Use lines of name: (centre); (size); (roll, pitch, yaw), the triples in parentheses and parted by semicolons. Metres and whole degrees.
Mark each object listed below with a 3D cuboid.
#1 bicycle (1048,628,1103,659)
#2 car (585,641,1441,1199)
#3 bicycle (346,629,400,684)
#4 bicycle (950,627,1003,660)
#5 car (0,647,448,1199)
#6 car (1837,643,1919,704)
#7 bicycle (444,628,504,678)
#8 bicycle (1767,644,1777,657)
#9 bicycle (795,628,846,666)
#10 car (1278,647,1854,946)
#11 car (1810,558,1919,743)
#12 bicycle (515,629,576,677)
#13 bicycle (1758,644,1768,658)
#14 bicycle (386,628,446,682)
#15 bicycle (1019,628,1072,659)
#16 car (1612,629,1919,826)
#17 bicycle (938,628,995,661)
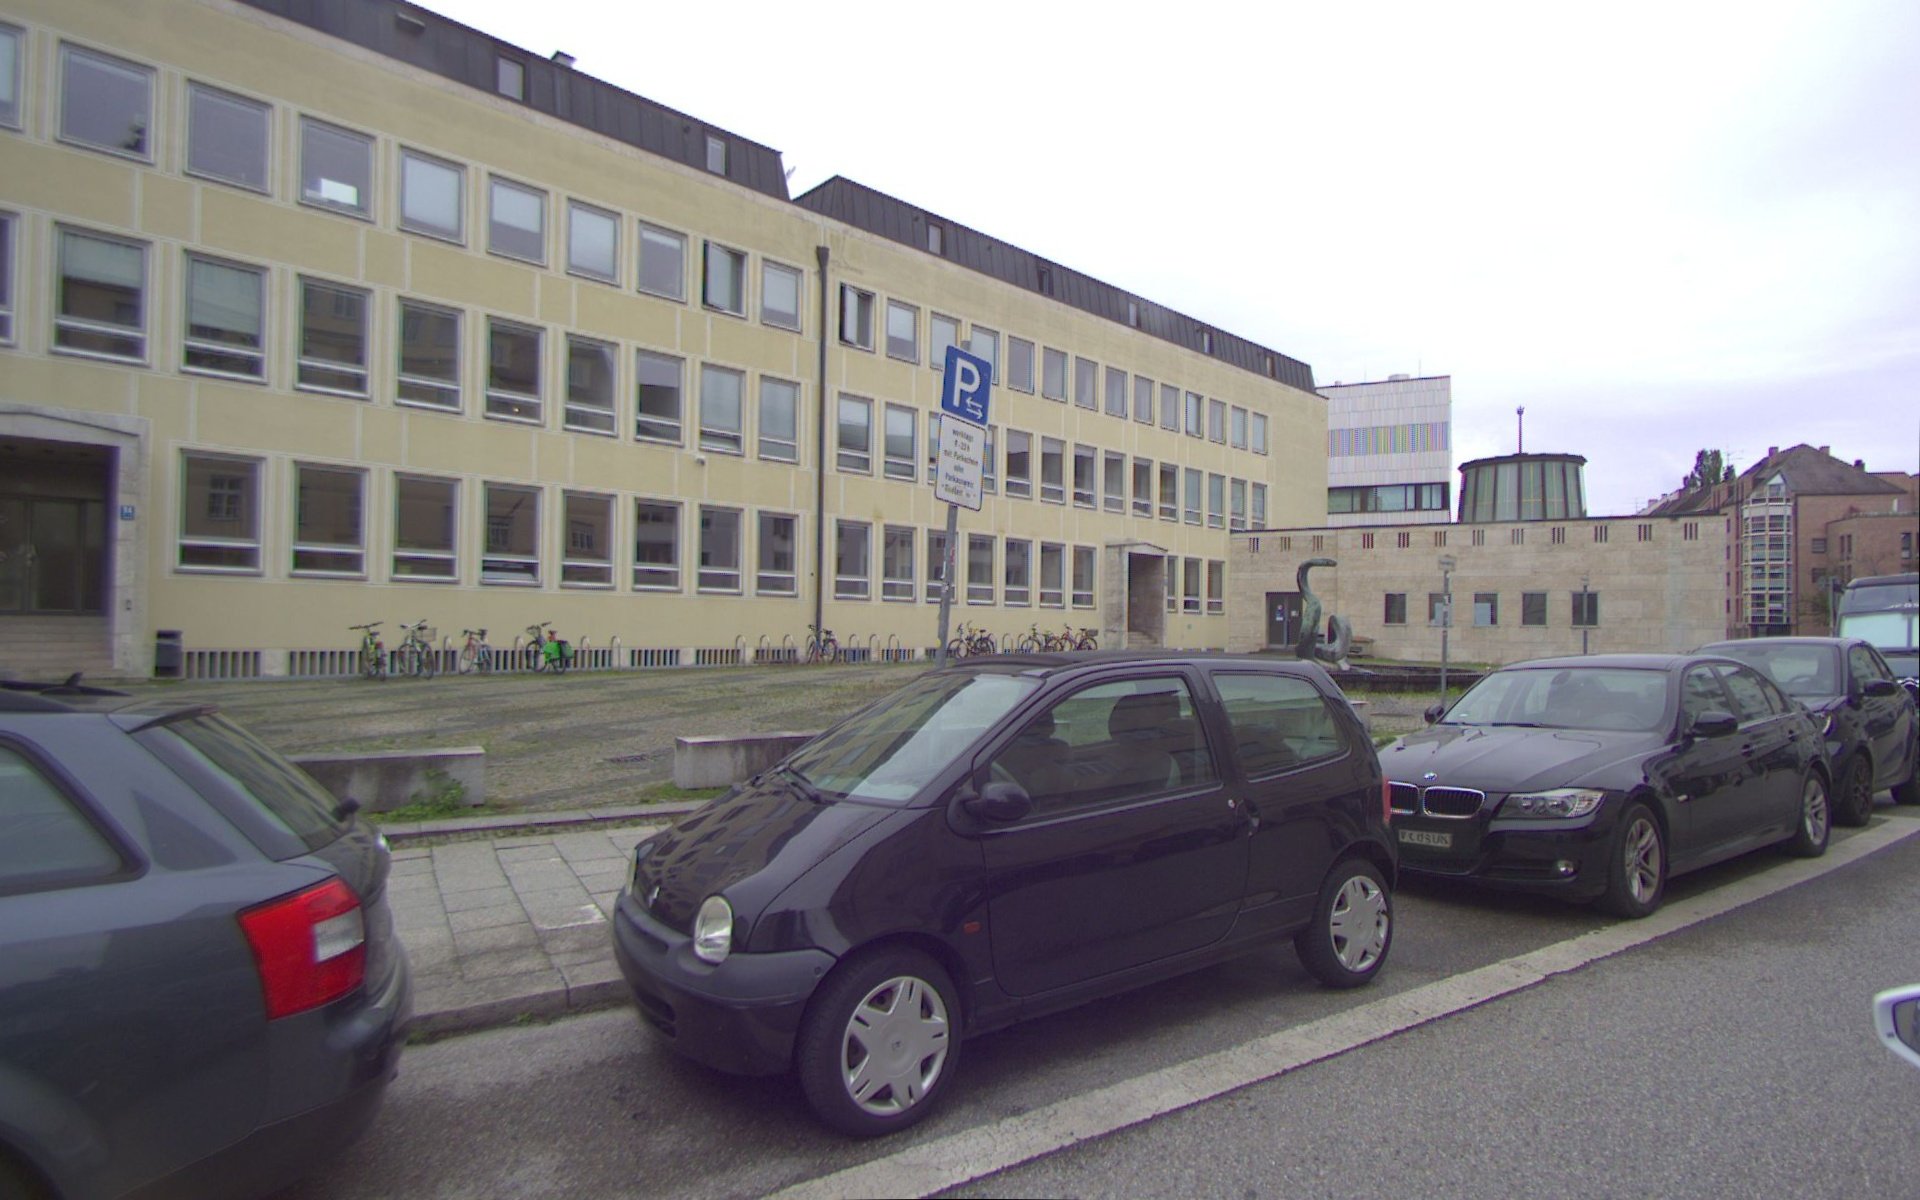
bicycle: (4.117, 1.543, 35.806); (1.923, 1.028, 0.623); (0, -1, 40)
car: (0.302, 0.921, 4.247); (3.276, 1.472, 1.647); (2, -3, -33)
bicycle: (-11.715, 1.102, 20.021); (0.620, 1.028, 1.931); (1, -1, -39)
bicycle: (0.534, 1.423, 33.098); (0.620, 1.028, 1.931); (1, -1, -39)
car: (-3.447, 0.837, 1.857); (4.346, 1.472, 1.746); (1, -3, -31)
car: (25.033, 1.833, 25.323); (4.003, 1.500, 1.687); (-2, -5, 10)
bicycle: (-10.554, 1.126, 21.780); (0.621, 1.028, 1.928); (1, -1, -43)
bicycle: (81.422, 5.083, 100.707); (0.543, 1.305, 1.756); (0, -1, 30)
bicycle: (-3.983, 1.313, 28.561); (0.619, 1.028, 1.933); (1, -1, -36)
car: (4.306, 1.045, 6.880); (4.412, 1.424, 1.787); (2, -4, -36)
car: (15.972, 0.803, 16.725); (5.977, 2.676, 2.143); (2, -3, -44)
bicycle: (-9.354, 1.173, 22.632); (0.621, 1.028, 1.928); (1, -1, -43)
bicycle: (80.726, 5.130, 100.956); (0.543, 1.305, 1.756); (0, -1, 30)
bicycle: (-11.217, 1.105, 20.690); (0.621, 1.028, 1.928); (1, -1, -43)
bicycle: (2.959, 1.507, 34.998); (0.621, 1.028, 1.928); (2, -1, -43)
car: (7.629, 1.065, 9.340); (2.949, 1.521, 1.659); (2, -3, -36)
bicycle: (0.202, 1.411, 32.233); (1.926, 1.028, 0.622); (0, -1, 44)
